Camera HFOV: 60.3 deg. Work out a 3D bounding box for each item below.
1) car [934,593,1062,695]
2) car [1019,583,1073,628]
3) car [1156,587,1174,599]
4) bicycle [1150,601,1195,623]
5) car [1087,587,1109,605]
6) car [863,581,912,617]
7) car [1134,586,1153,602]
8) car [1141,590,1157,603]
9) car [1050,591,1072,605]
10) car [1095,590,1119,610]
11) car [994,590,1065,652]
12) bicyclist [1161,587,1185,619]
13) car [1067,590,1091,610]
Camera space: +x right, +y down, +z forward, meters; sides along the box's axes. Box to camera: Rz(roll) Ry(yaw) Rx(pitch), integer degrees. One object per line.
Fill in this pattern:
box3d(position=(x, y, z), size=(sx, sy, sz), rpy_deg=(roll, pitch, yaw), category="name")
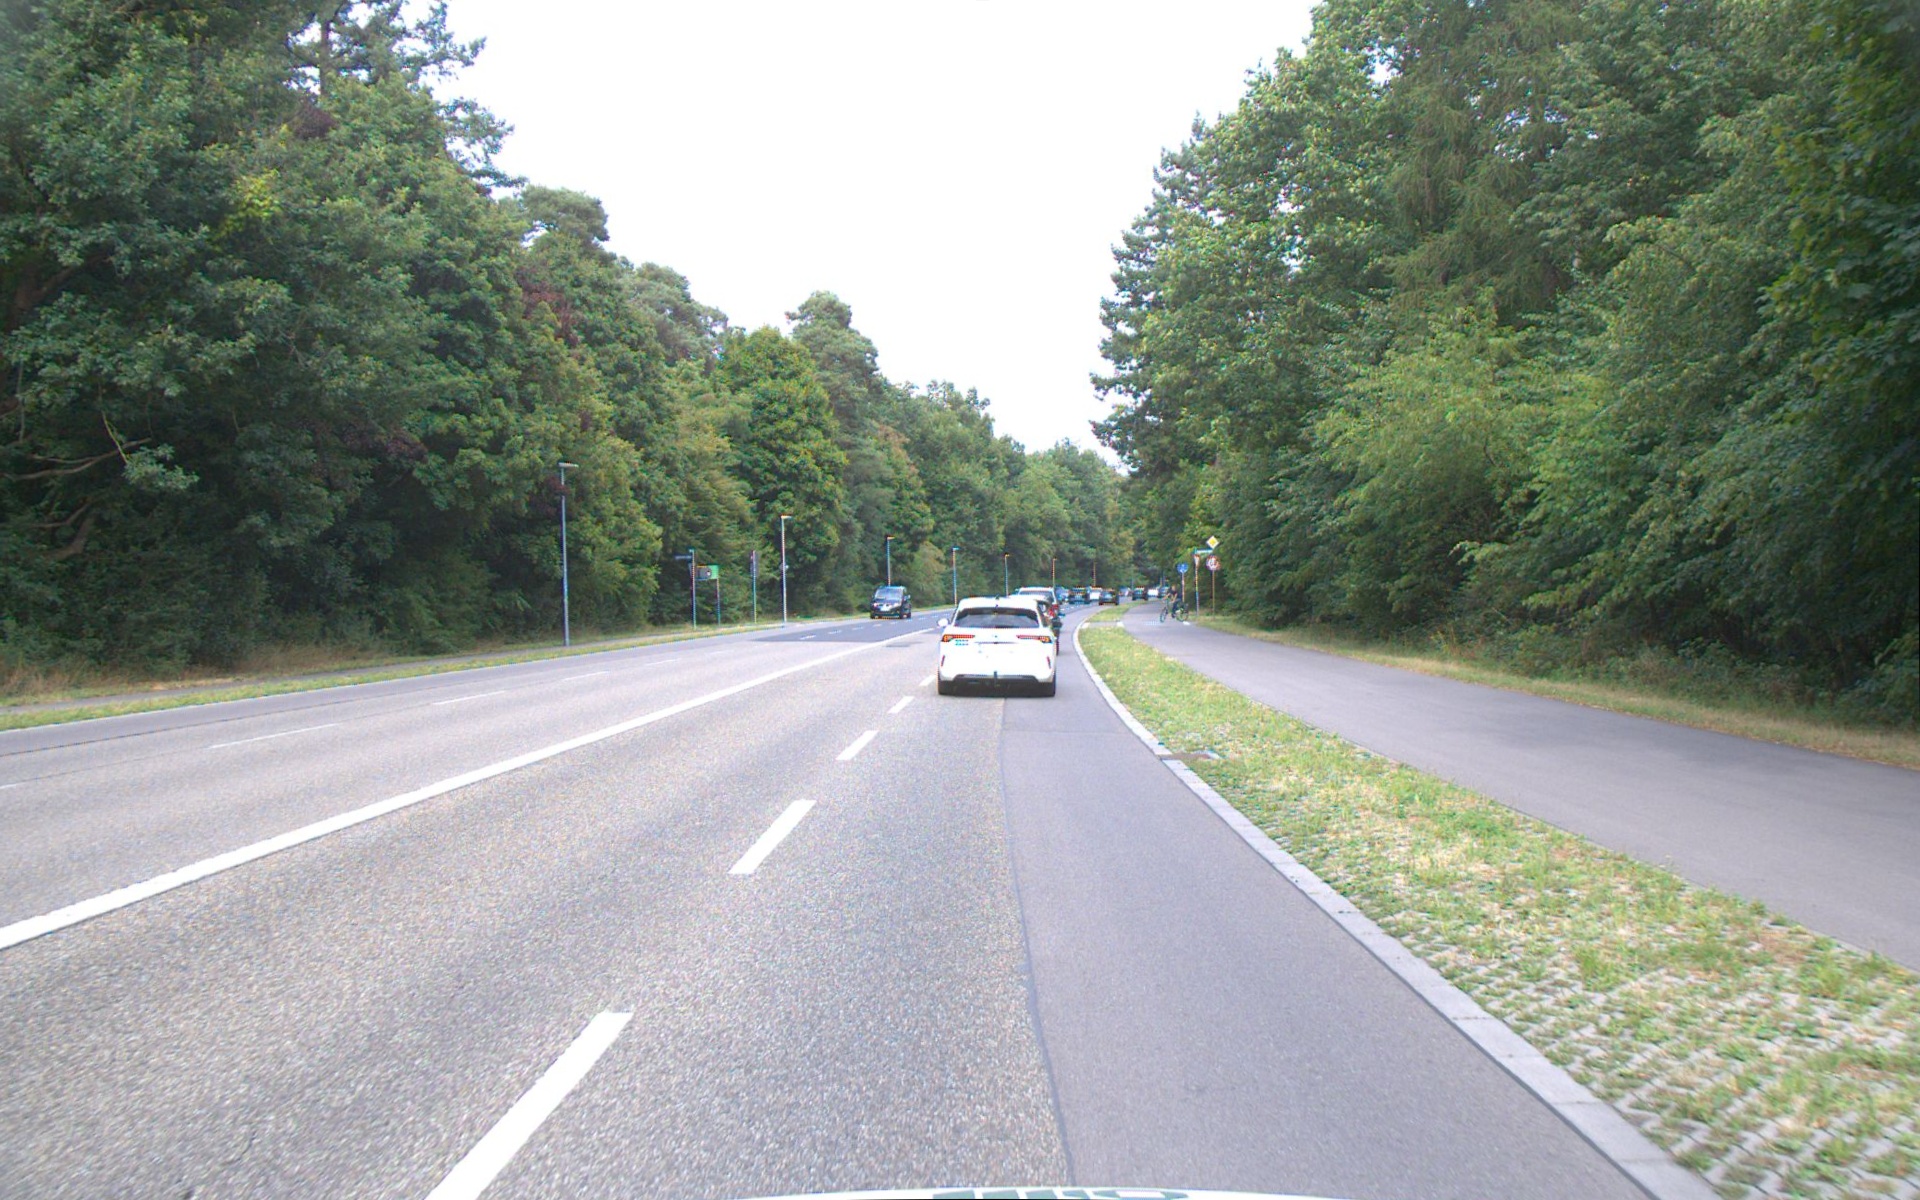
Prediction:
box3d(position=(0.640, 0.625, 25.545), size=(1.798, 1.435, 4.492), rpy_deg=(0, 0, 3), category="car")
box3d(position=(3.278, 0.219, 63.568), size=(1.952, 1.635, 4.001), rpy_deg=(2, -1, 2), category="car")
box3d(position=(28.979, -1.005, 234.129), size=(1.951, 1.735, 4.003), rpy_deg=(0, 0, 16), category="car")
box3d(position=(9.984, 0.555, 77.575), size=(2.154, 1.011, 0.703), rpy_deg=(0, 0, -33), category="bicycle")
box3d(position=(15.167, -0.436, 181.815), size=(1.951, 1.814, 4.003), rpy_deg=(2, -1, 10), category="car")
box3d(position=(-3.887, -0.039, 89.431), size=(1.951, 1.822, 4.750), rpy_deg=(2, -1, 6), category="car")
box3d(position=(22.685, -0.733, 204.224), size=(1.951, 1.814, 4.003), rpy_deg=(2, -1, 11), category="car")
box3d(position=(28.325, -0.557, 247.872), size=(1.848, 1.847, 4.003), rpy_deg=(2, -1, 12), category="car")
box3d(position=(10.888, -0.217, 178.368), size=(1.951, 1.460, 4.725), rpy_deg=(1, -1, 9), category="car")
box3d(position=(14.090, 0.003, 158.315), size=(1.951, 1.814, 4.003), rpy_deg=(2, -1, 8), category="car")
box3d(position=(1.805, 0.519, 41.940), size=(1.601, 1.445, 4.002), rpy_deg=(2, -1, 5), category="car")
box3d(position=(9.975, 0.140, 77.565), size=(0.890, 1.496, 0.703), rpy_deg=(0, 0, -32), category="bicyclist")
box3d(position=(11.802, -0.002, 164.042), size=(1.951, 1.814, 4.003), rpy_deg=(2, -1, 10), category="car")
